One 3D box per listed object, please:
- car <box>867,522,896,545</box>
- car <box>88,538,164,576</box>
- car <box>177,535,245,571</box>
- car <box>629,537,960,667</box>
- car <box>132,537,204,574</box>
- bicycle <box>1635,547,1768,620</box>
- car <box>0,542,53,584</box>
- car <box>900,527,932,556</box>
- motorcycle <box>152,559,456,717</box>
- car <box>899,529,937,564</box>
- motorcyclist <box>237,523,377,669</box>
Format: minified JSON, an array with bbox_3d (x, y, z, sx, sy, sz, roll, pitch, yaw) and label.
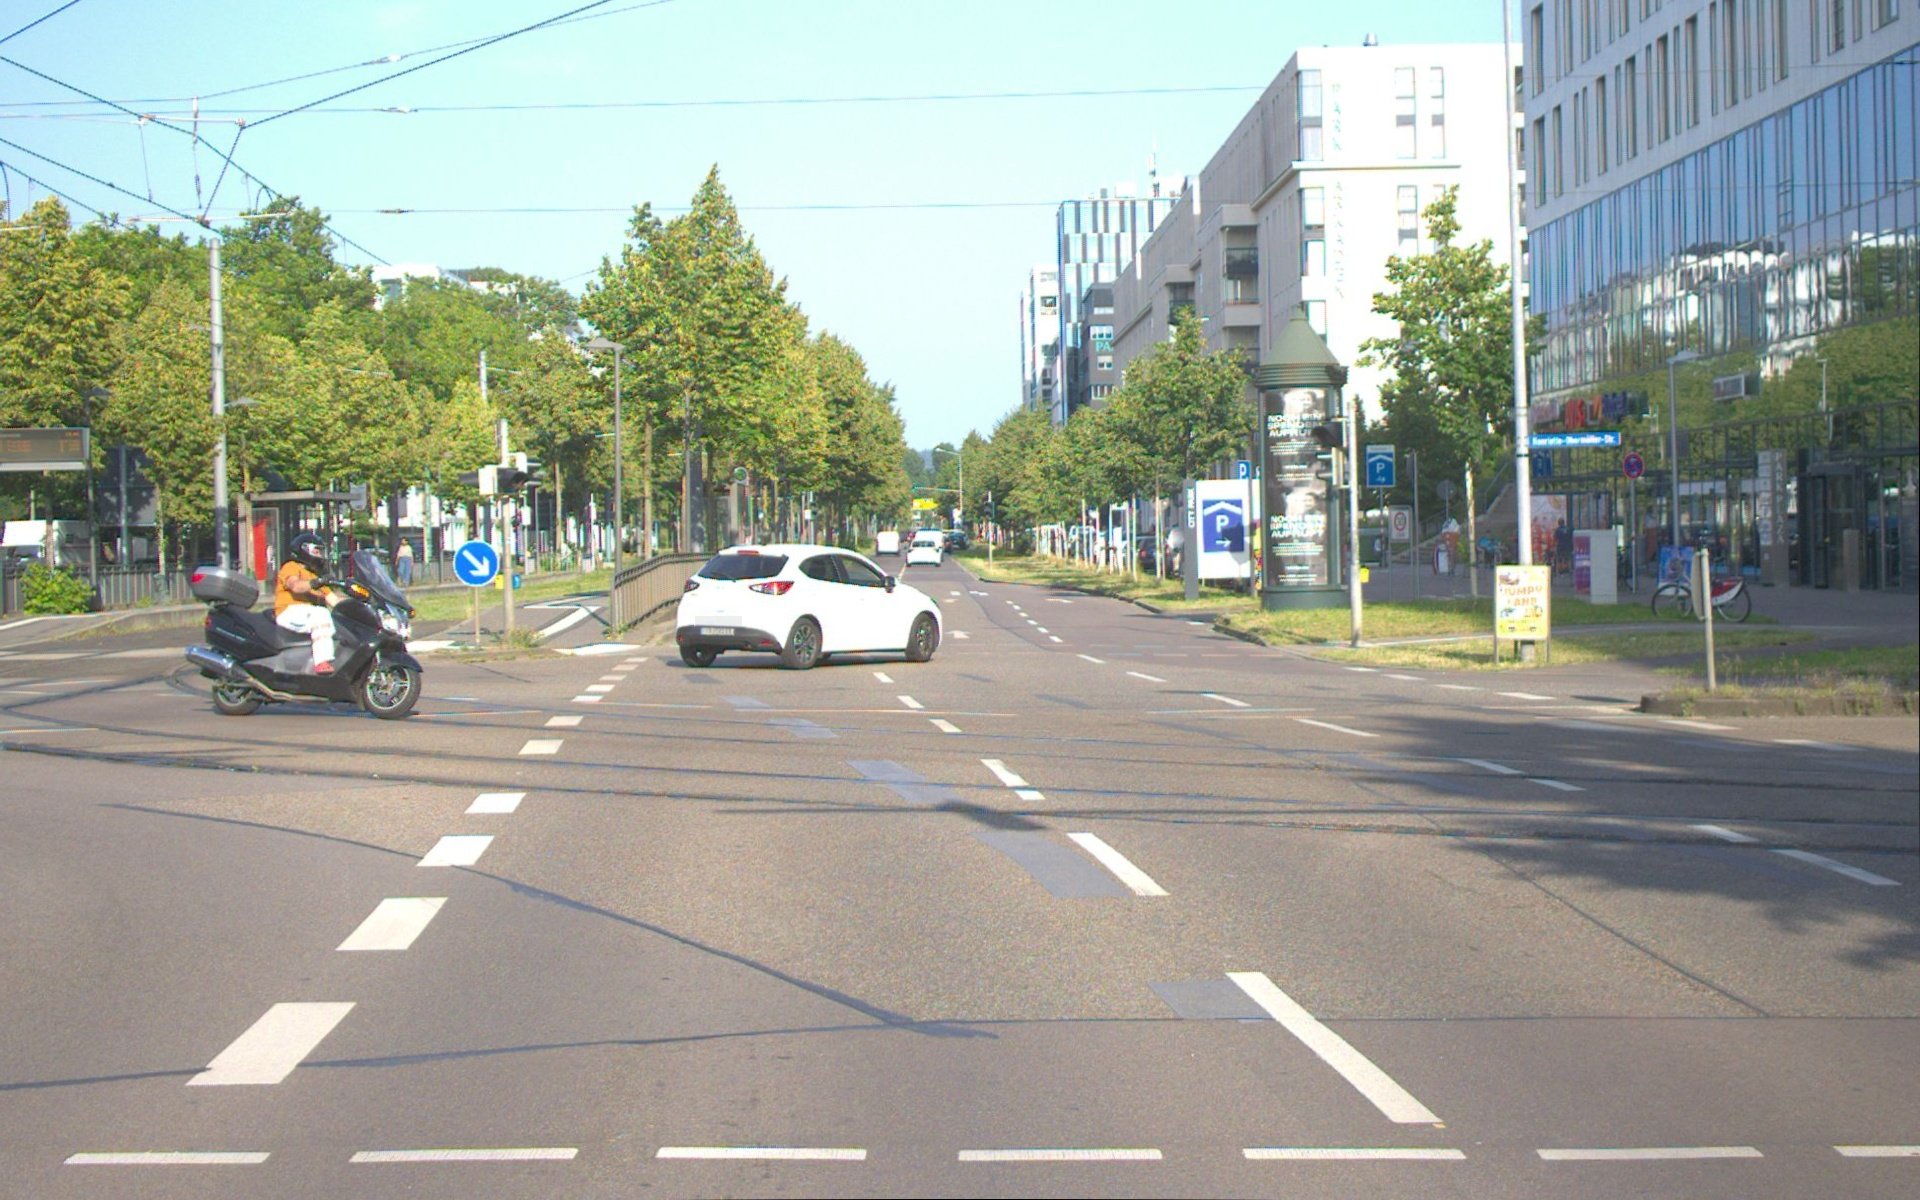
[{"bbox_3d":[-5.721,-4.872,251.950,2.014,1.678,4.000,1,2,0],"label":"car"},{"bbox_3d":[-34.992,-1.810,144.318,1.881,1.554,3.999,-1,1,5],"label":"car"},{"bbox_3d":[-33.951,-2.128,155.952,1.881,1.554,3.999,-1,1,5],"label":"car"},{"bbox_3d":[-1.967,-0.005,42.027,1.997,1.499,4.085,1,1,34],"label":"car"},{"bbox_3d":[-34.423,-1.956,149.530,1.881,1.554,3.999,-1,1,5],"label":"car"},{"bbox_3d":[11.423,-0.267,53.004,0.771,1.028,1.878,-2,4,-44],"label":"bicycle"},{"bbox_3d":[-35.698,-1.379,129.112,1.881,1.554,3.999,-1,1,5],"label":"car"},{"bbox_3d":[-2.623,-3.510,206.217,1.864,1.678,4.000,1,2,0],"label":"car"},{"bbox_3d":[-5.544,0.298,29.005,2.544,1.259,0.820,1,1,27],"label":"motorcycle"},{"bbox_3d":[-2.101,-2.710,174.089,1.864,1.678,4.000,1,2,0],"label":"car"},{"bbox_3d":[-5.509,-0.046,29.017,0.846,1.198,0.783,2,2,27],"label":"motorcyclist"}]
